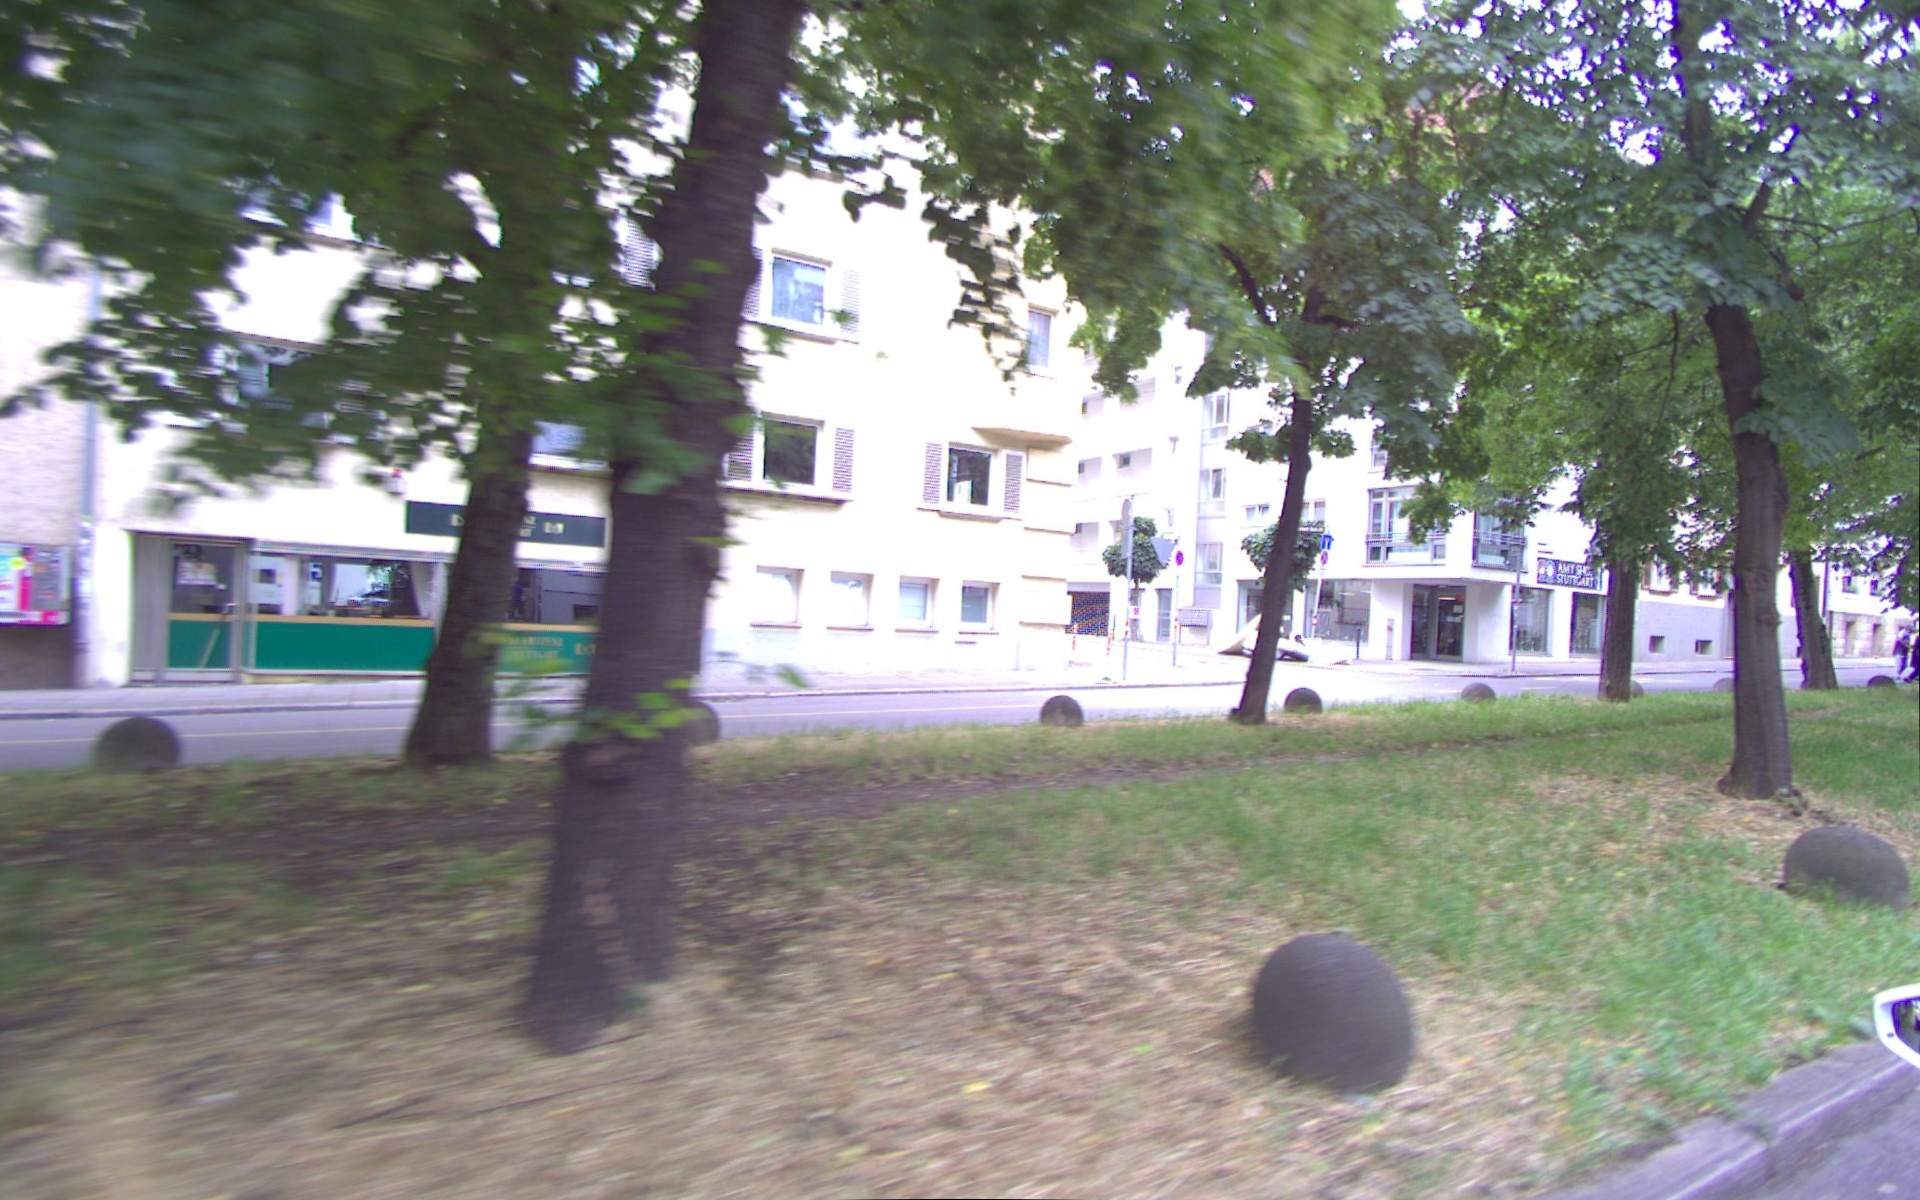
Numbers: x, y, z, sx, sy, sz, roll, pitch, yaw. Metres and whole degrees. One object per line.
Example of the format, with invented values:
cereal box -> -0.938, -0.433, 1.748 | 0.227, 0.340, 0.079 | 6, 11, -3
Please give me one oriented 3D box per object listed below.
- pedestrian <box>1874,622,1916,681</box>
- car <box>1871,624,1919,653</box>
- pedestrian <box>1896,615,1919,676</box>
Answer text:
pedestrian -> 26.386, 1.445, 28.351 | 0.572, 1.638, 0.660 | 1, 1, -28
car -> 52.546, 2.132, 54.676 | 1.976, 1.517, 3.968 | 1, 0, -30
pedestrian -> 25.877, 1.224, 27.198 | 0.758, 1.635, 0.629 | 1, 2, -39
